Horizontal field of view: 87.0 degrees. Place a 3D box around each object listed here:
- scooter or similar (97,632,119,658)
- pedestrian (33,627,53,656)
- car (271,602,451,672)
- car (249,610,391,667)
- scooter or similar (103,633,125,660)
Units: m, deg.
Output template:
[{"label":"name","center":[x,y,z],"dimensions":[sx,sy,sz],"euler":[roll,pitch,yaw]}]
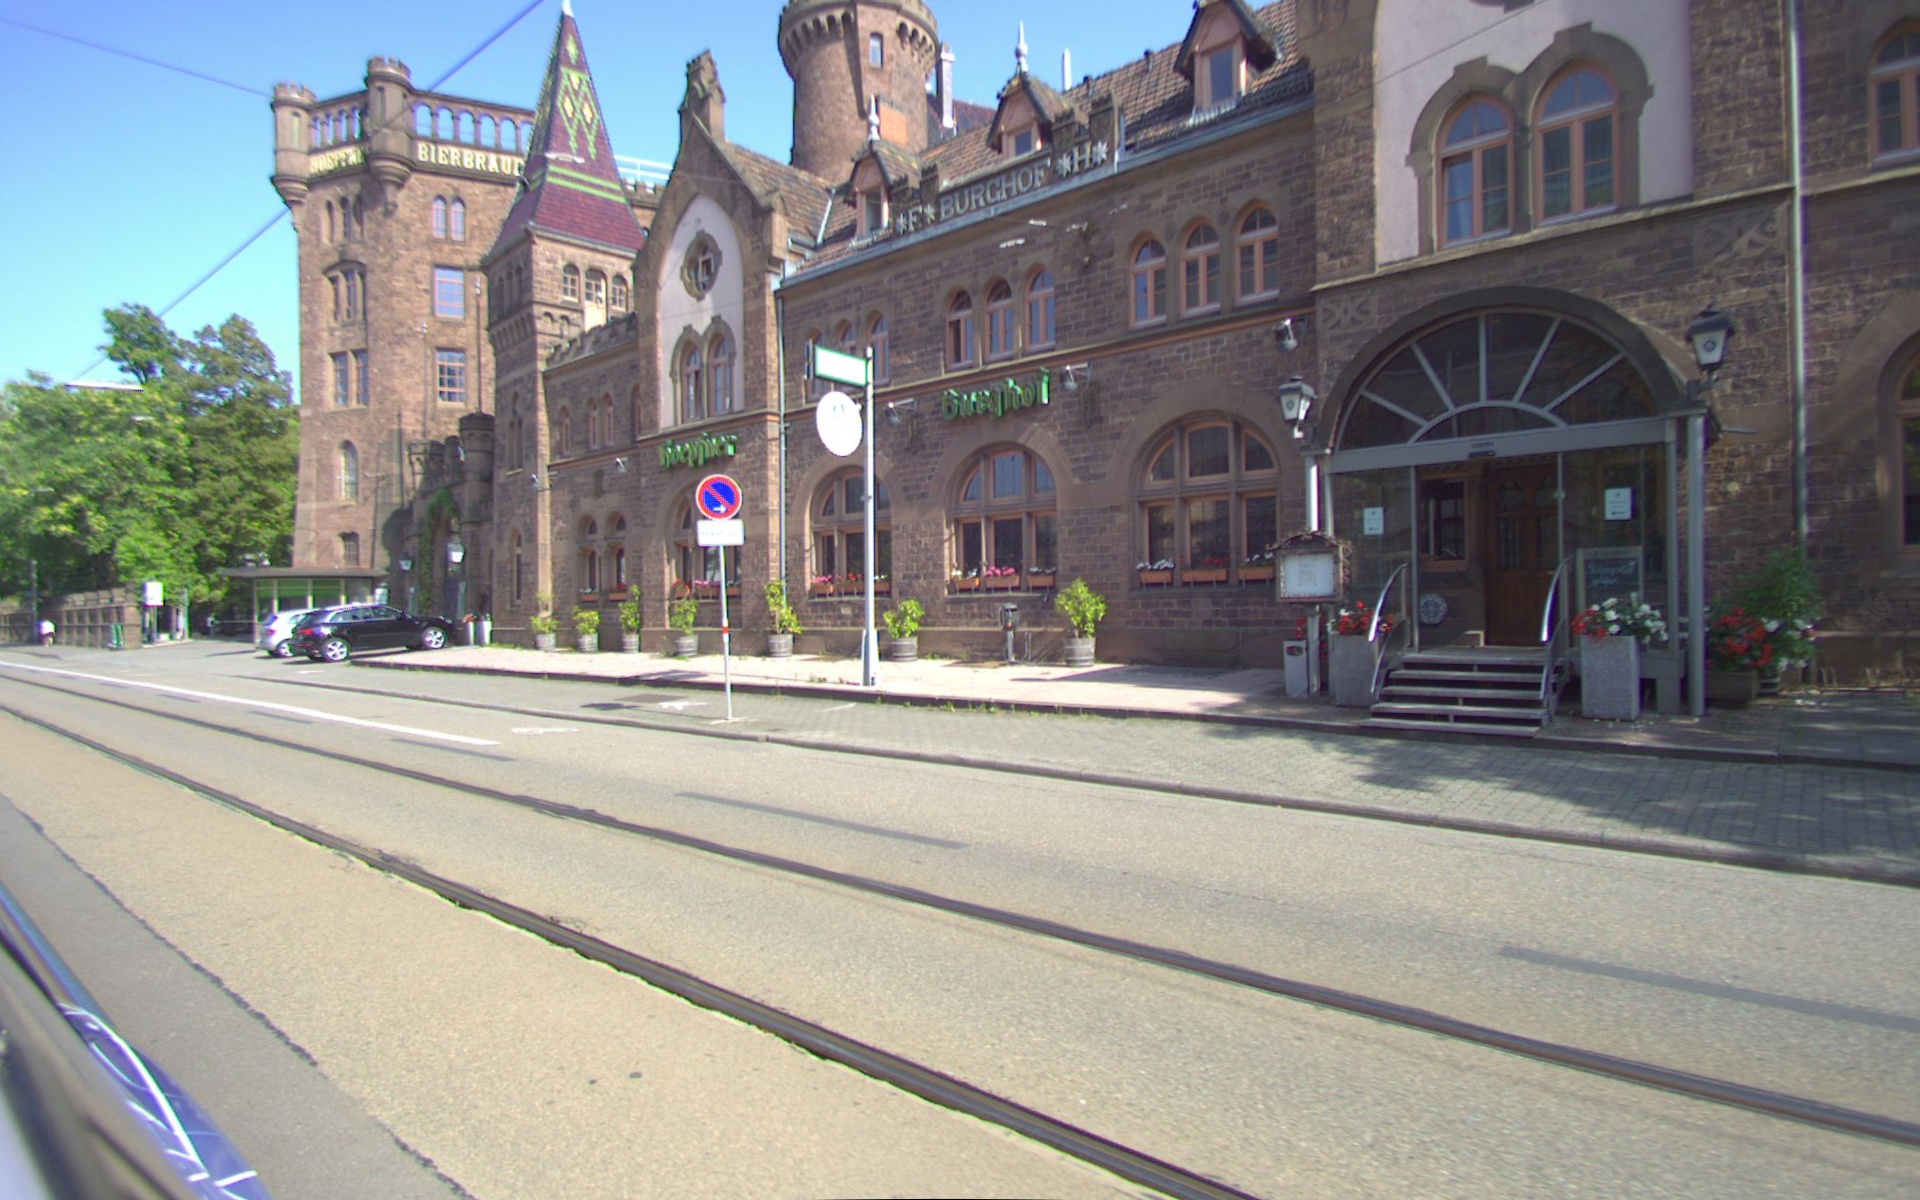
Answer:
[{"label":"scooter or similar","center":[-39.990,2.105,47.508],"dimensions":[0.280,1.157,0.816],"euler":[-1,2,4]},{"label":"pedestrian","center":[-52.438,2.356,57.870],"dimensions":[0.774,1.601,0.708],"euler":[-2,-1,40]},{"label":"car","center":[-18.580,1.101,31.537],"dimensions":[1.956,1.657,4.352],"euler":[-2,3,41]},{"label":"car","center":[-22.735,1.321,36.036],"dimensions":[1.822,1.607,3.858],"euler":[-2,3,43]},{"label":"scooter or similar","center":[-39.049,2.136,46.709],"dimensions":[0.280,1.157,0.816],"euler":[-1,2,4]}]
